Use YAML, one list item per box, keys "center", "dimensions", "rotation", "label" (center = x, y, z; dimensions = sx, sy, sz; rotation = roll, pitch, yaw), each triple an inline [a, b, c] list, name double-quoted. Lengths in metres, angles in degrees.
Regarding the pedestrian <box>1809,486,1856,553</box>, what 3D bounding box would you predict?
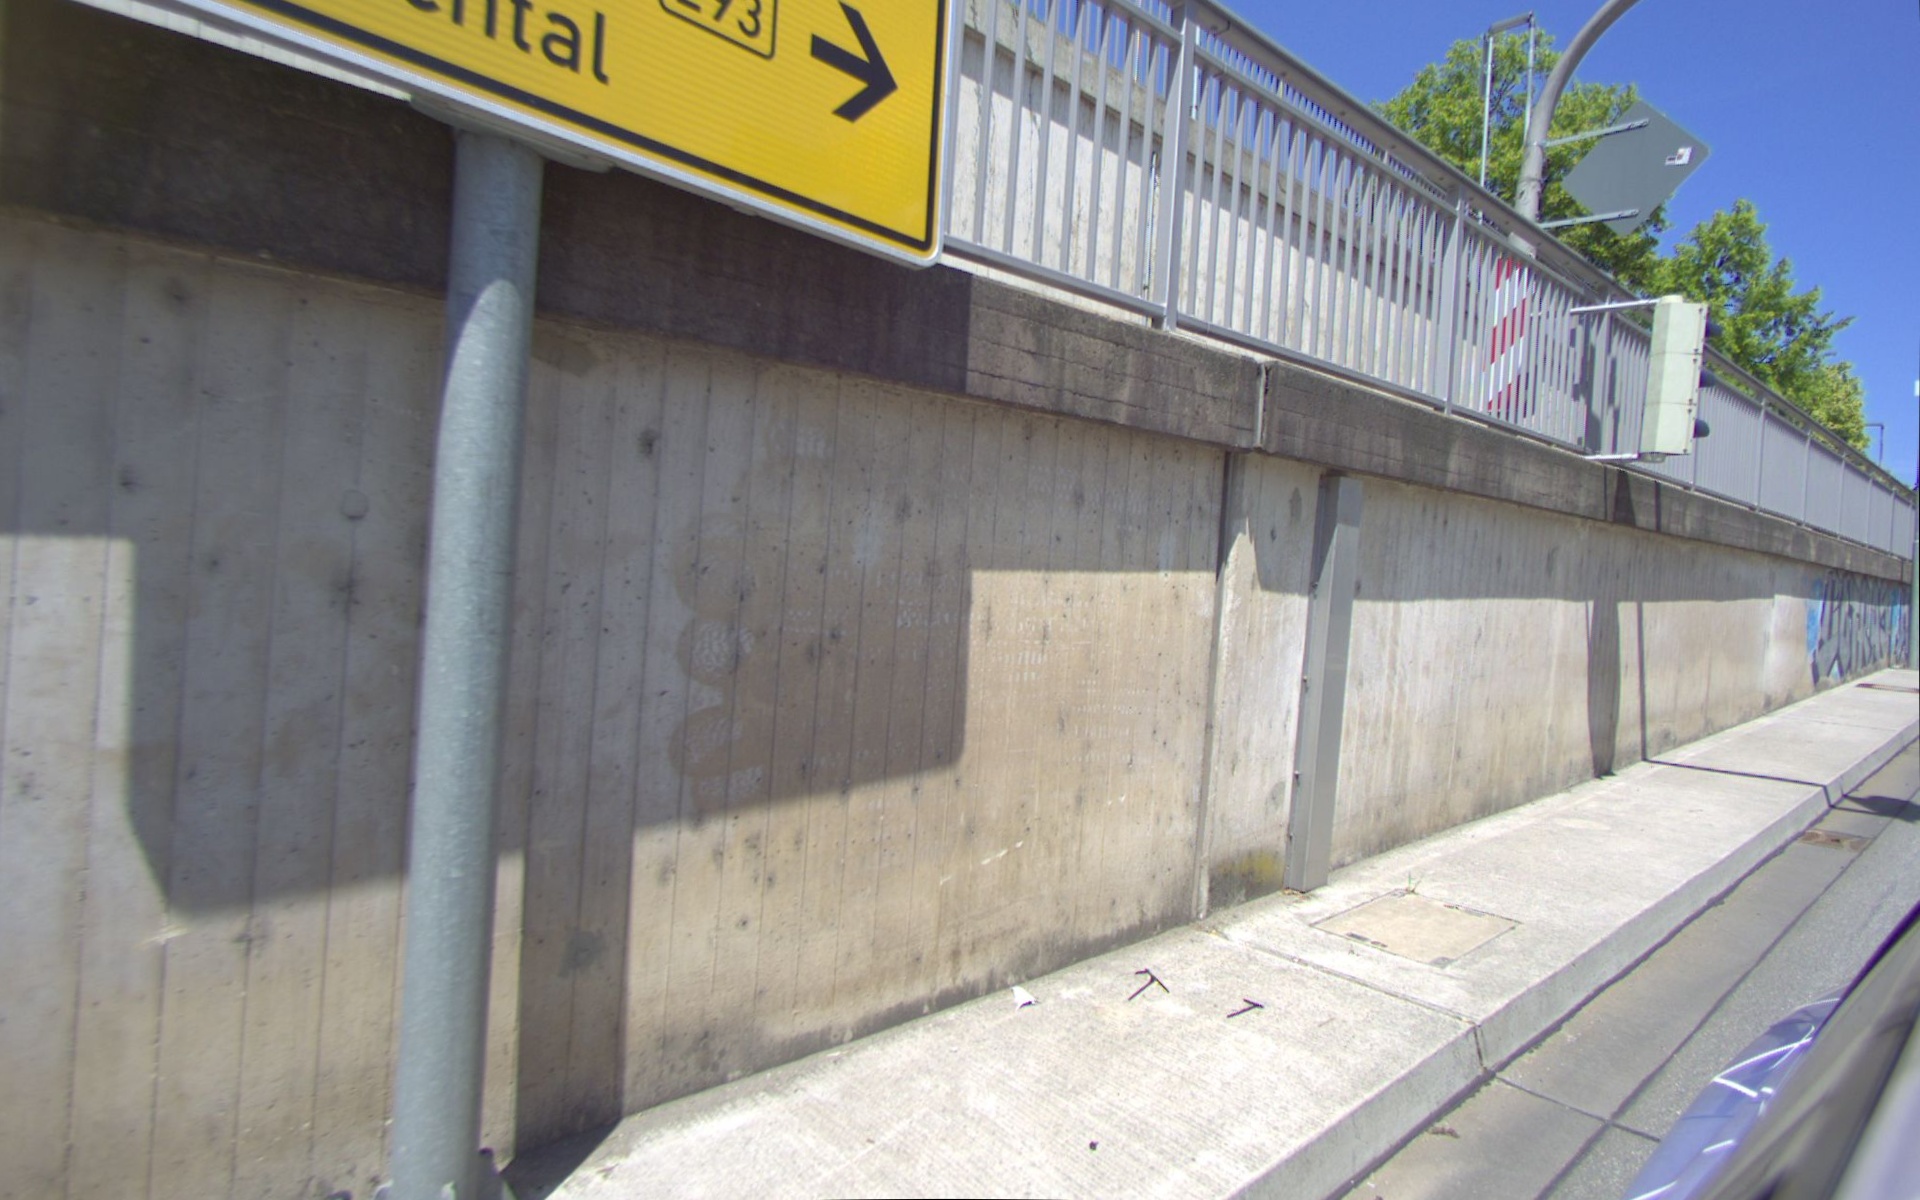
- center: [24.298, -2.215, 28.185]
  dimensions: [0.774, 1.804, 0.838]
  rotation: [0, 1, -40]
  label: "pedestrian"
